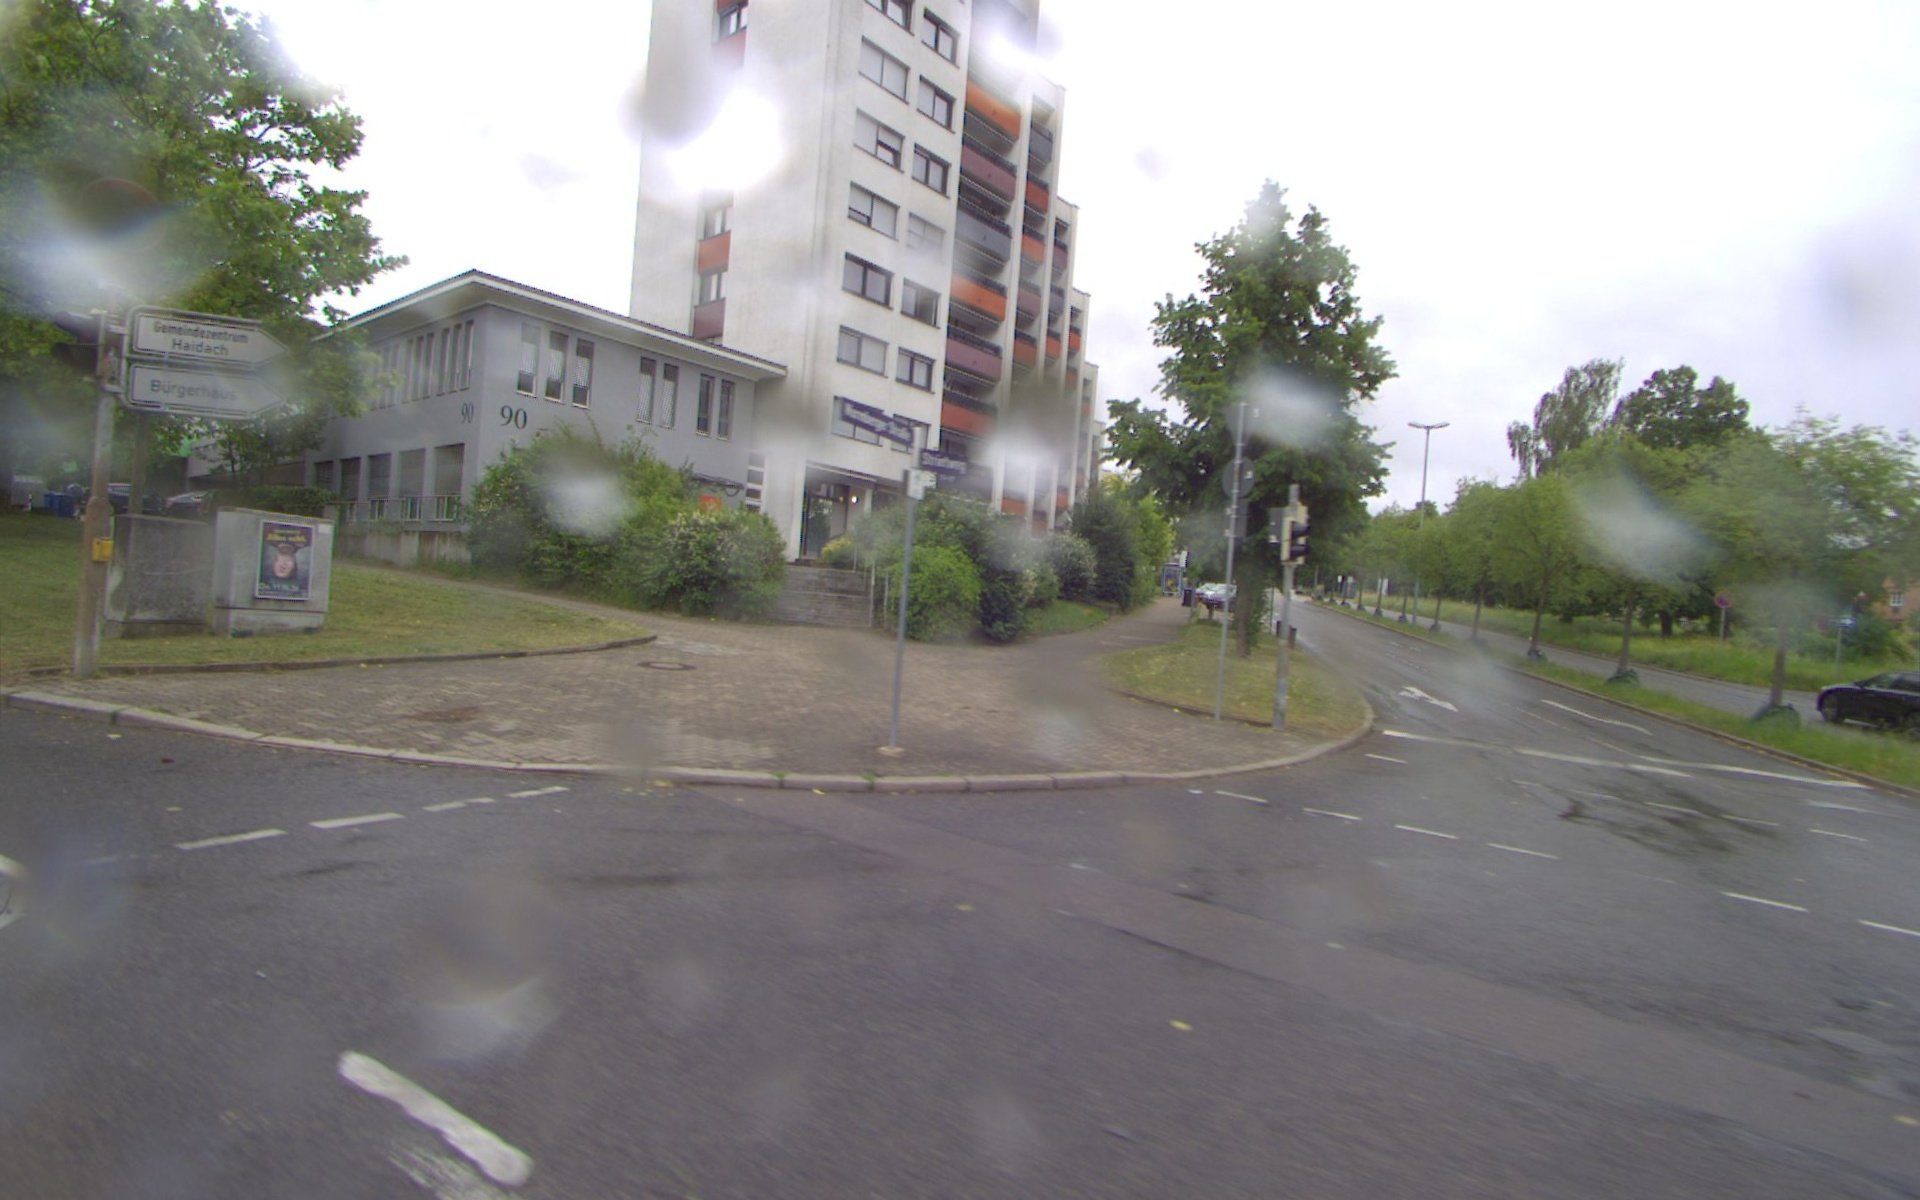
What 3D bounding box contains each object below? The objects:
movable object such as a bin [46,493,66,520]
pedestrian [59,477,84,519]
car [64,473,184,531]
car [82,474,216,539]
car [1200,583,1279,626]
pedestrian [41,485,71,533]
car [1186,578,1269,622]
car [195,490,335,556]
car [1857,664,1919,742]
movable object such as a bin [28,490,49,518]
[{"bbox_3d":[-32.608,-3.365,36.296,0.448,0.916,0.458,7,-1,-39],"label":"movable object such as a bin"},{"bbox_3d":[-37.226,-4.258,42.169,0.518,1.636,0.599,5,-1,42],"label":"pedestrian"},{"bbox_3d":[-35.639,-4.136,42.933,1.803,1.837,3.595,5,-2,41],"label":"car"},{"bbox_3d":[-33.420,-3.816,41.507,1.975,1.953,3.978,5,-2,45],"label":"car"},{"bbox_3d":[16.765,0.269,60.291,4.284,2.037,2.001,6,-2,20],"label":"car"},{"bbox_3d":[-35.604,-3.598,39.610,0.716,1.784,0.558,6,-1,31],"label":"pedestrian"},{"bbox_3d":[15.338,0.004,57.713,4.284,2.037,2.001,6,-2,20],"label":"car"},{"bbox_3d":[-26.566,-2.911,38.532,1.974,1.837,3.980,5,-2,44],"label":"car"},{"bbox_3d":[21.511,2.346,21.905,1.500,1.554,3.529,6,1,18],"label":"car"},{"bbox_3d":[-32.986,-3.420,36.006,0.448,0.916,0.458,7,-1,-39],"label":"movable object such as a bin"}]
